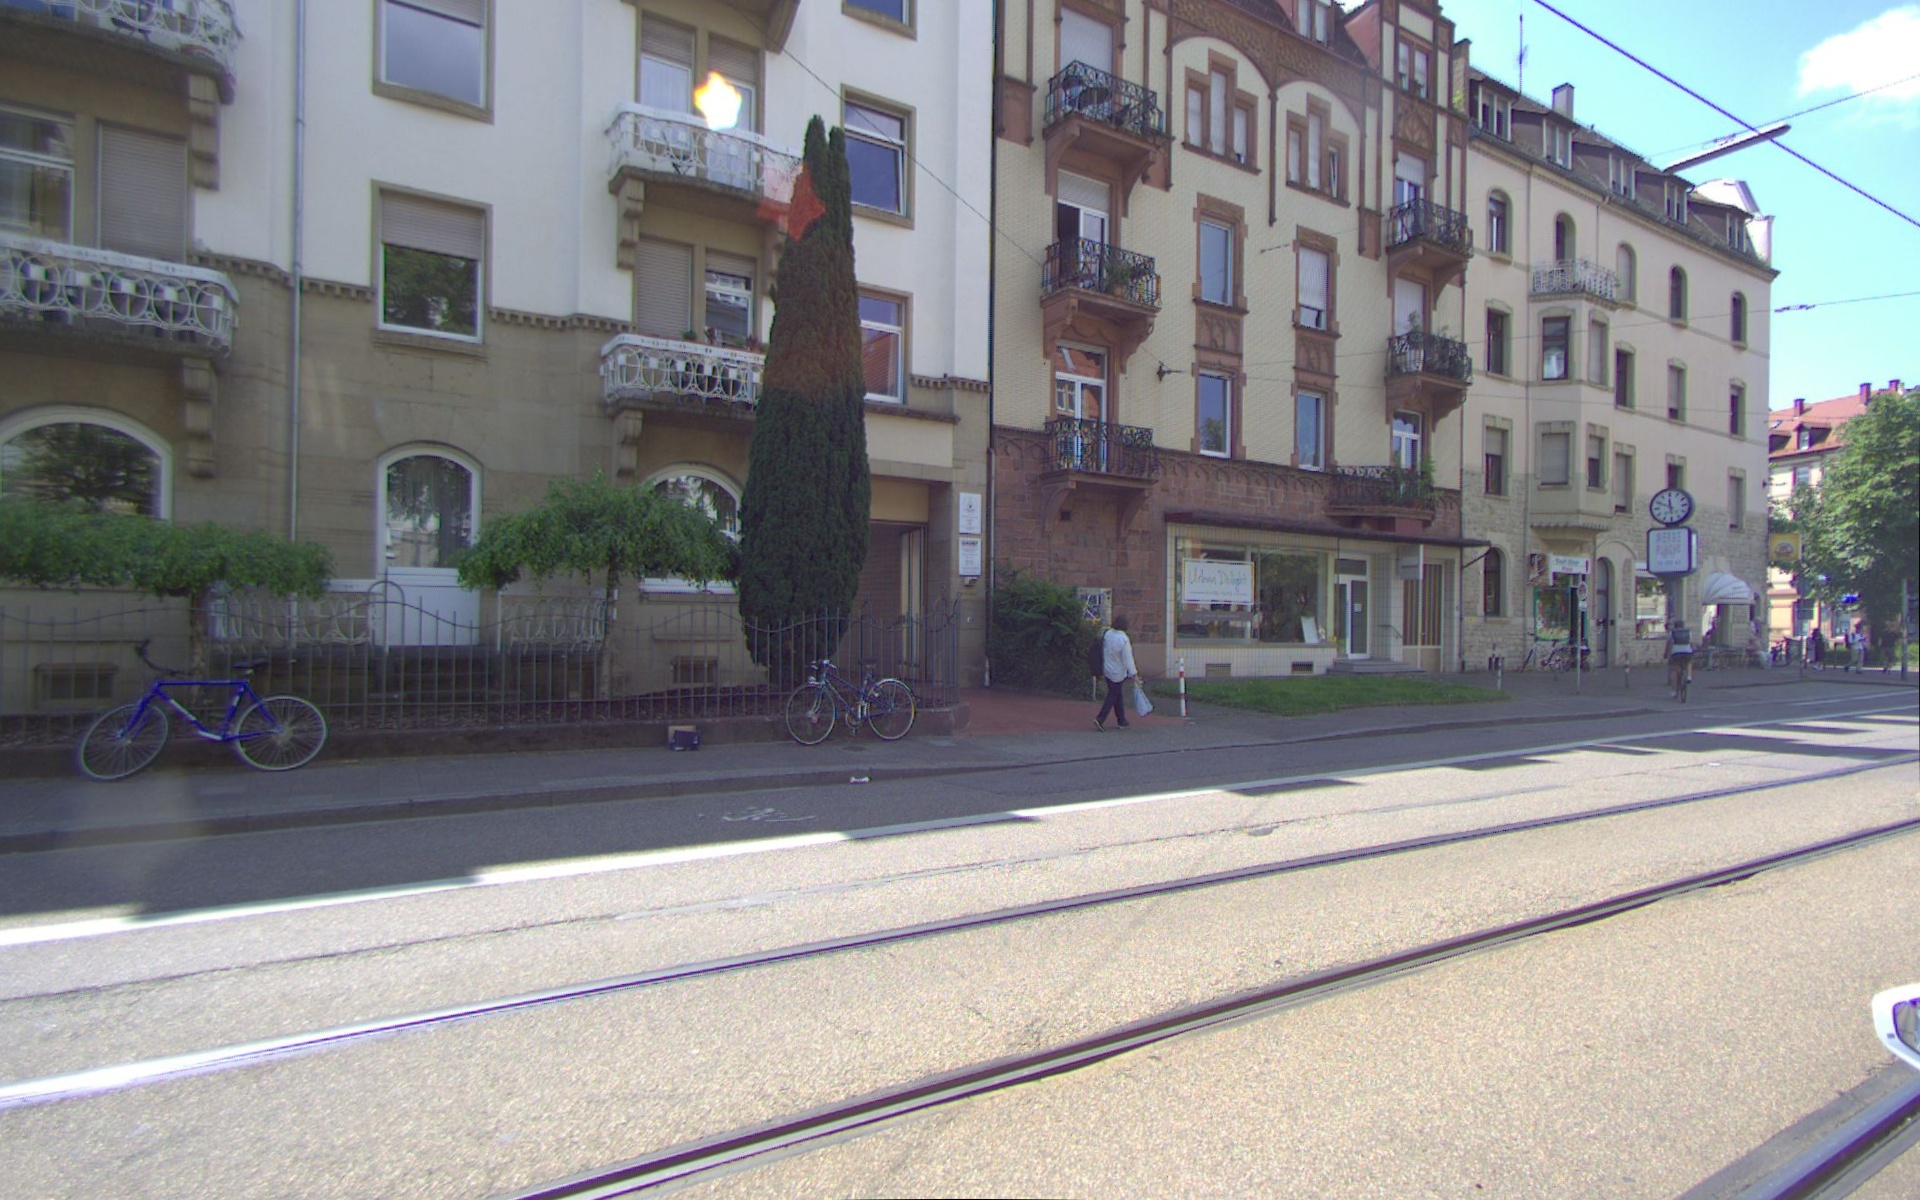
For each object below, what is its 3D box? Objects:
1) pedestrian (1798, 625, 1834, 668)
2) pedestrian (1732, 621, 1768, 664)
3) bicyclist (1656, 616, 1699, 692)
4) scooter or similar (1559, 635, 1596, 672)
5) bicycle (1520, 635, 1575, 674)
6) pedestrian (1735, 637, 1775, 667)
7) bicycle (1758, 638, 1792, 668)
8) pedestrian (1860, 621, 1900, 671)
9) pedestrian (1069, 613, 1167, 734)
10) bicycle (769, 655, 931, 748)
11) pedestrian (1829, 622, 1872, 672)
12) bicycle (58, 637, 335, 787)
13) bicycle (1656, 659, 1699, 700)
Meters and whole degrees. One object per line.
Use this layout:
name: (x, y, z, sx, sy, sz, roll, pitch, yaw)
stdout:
pedestrian: (33.895, 1.827, 39.769, 1.015, 1.657, 0.855, 1, -1, -33)
pedestrian: (30.758, 1.639, 39.098, 0.801, 1.616, 0.911, 1, -1, -35)
bicyclist: (16.493, 1.227, 23.083, 0.746, 1.685, 0.828, 2, 0, 37)
scooter or similar: (18.930, 1.636, 30.822, 0.682, 1.058, 1.210, 2, 0, 18)
bicycle: (17.303, 1.609, 29.595, 1.438, 1.080, 0.370, 3, 0, -8)
pedestrian: (29.736, 1.924, 37.564, 0.872, 1.092, 0.911, 1, -1, -30)
bicycle: (32.386, 2.104, 39.936, 0.534, 1.143, 1.683, 1, -3, 21)
pedestrian: (36.218, 1.800, 39.525, 1.152, 1.916, 0.896, 1, -1, -32)
pedestrian: (2.142, 0.964, 13.645, 0.974, 1.563, 0.895, 1, -1, -35)
bicycle: (-1.242, 1.150, 11.564, 1.821, 0.973, 0.408, 3, 2, -32)
pedestrian: (32.372, 1.697, 36.522, 0.760, 1.756, 0.863, 1, 0, 6)
bicycle: (-6.195, 0.871, 8.279, 1.752, 1.079, 0.604, 1, 3, -32)
bicycle: (16.389, 1.805, 22.970, 0.742, 0.828, 1.815, 0, -1, 34)
